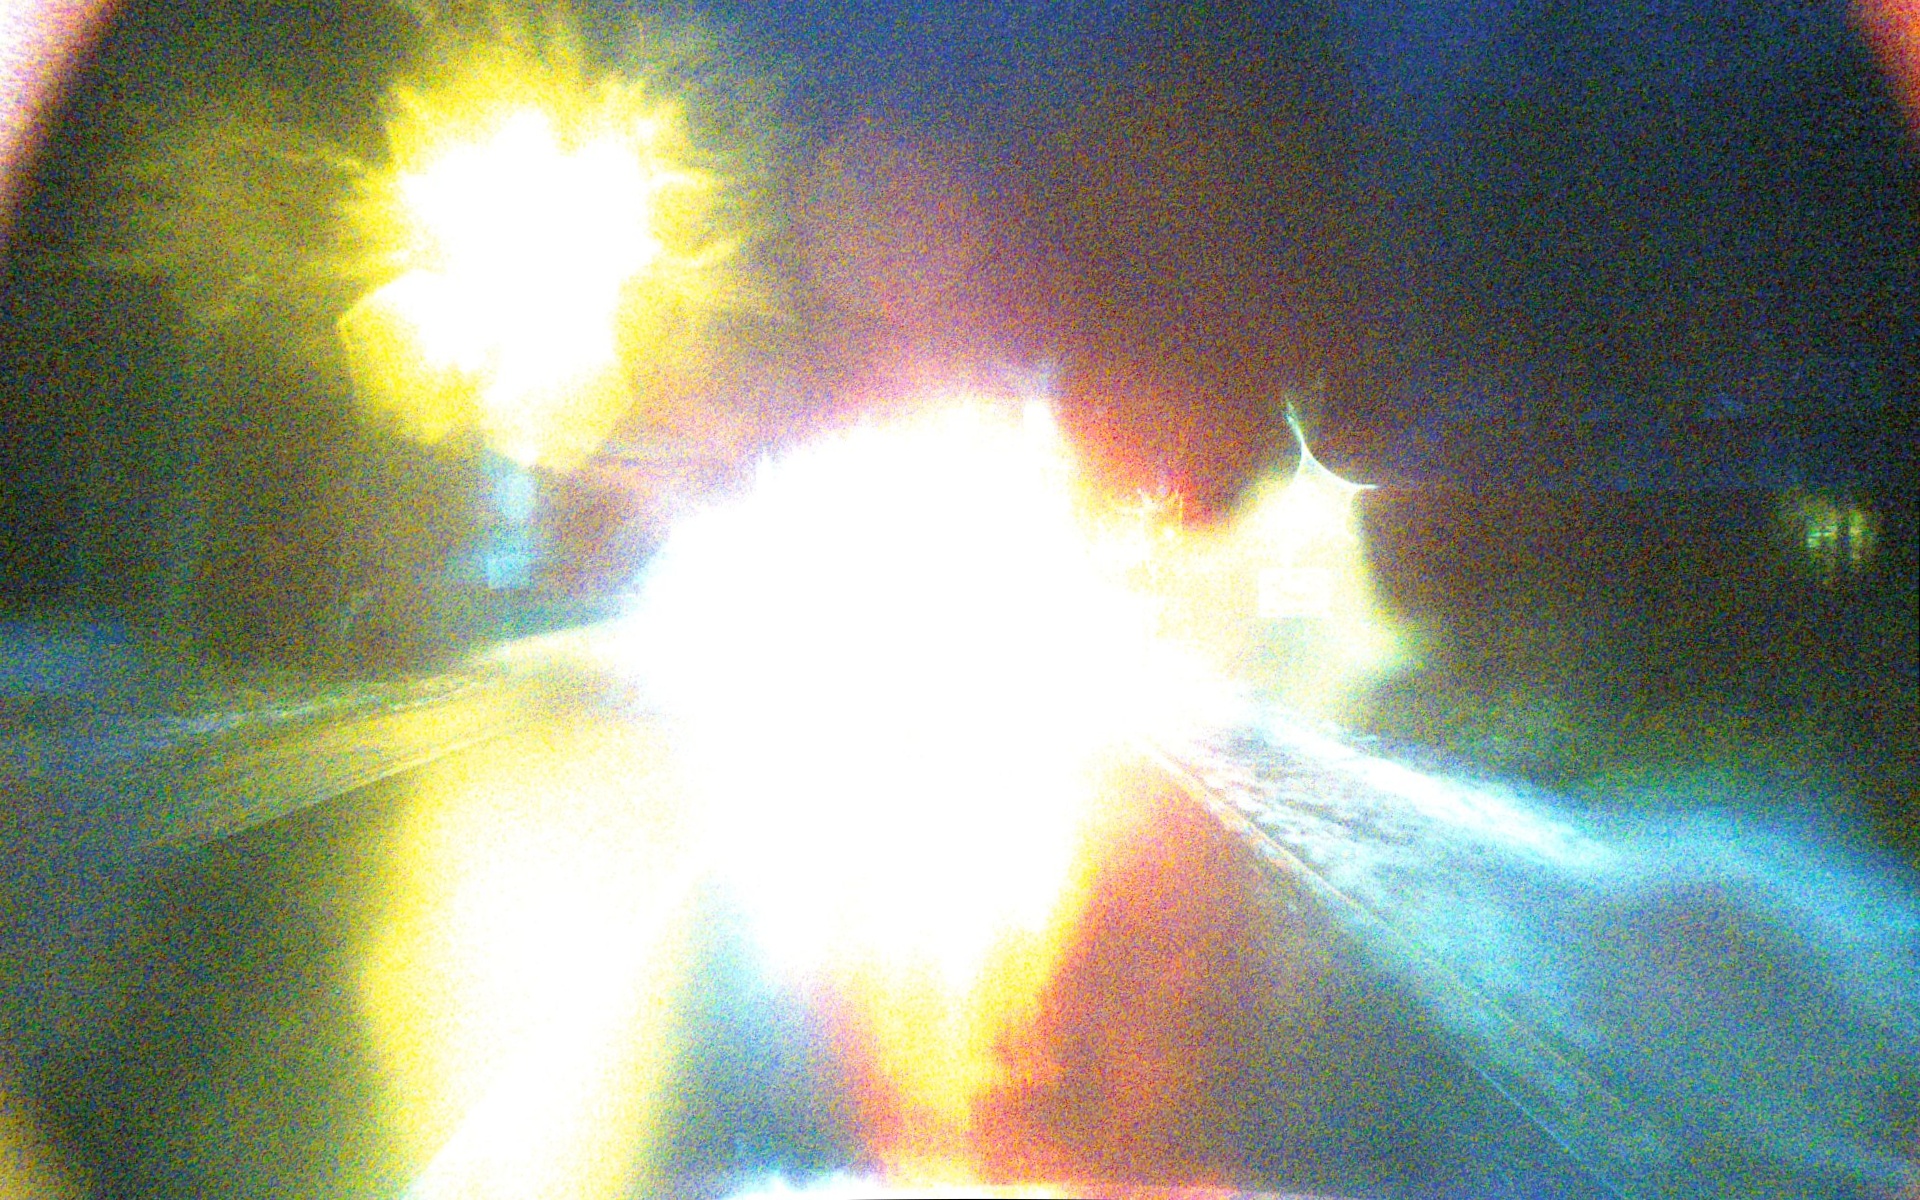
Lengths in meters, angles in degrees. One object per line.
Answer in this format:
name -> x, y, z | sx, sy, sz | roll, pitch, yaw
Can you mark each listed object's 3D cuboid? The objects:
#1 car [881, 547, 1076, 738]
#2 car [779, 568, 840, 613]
car -> 0.209, 0.363, 17.130 | 1.754, 1.710, 3.905 | -1, 1, 1
car -> -5.814, -0.385, 64.145 | 1.835, 1.572, 4.356 | -4, 0, 0
